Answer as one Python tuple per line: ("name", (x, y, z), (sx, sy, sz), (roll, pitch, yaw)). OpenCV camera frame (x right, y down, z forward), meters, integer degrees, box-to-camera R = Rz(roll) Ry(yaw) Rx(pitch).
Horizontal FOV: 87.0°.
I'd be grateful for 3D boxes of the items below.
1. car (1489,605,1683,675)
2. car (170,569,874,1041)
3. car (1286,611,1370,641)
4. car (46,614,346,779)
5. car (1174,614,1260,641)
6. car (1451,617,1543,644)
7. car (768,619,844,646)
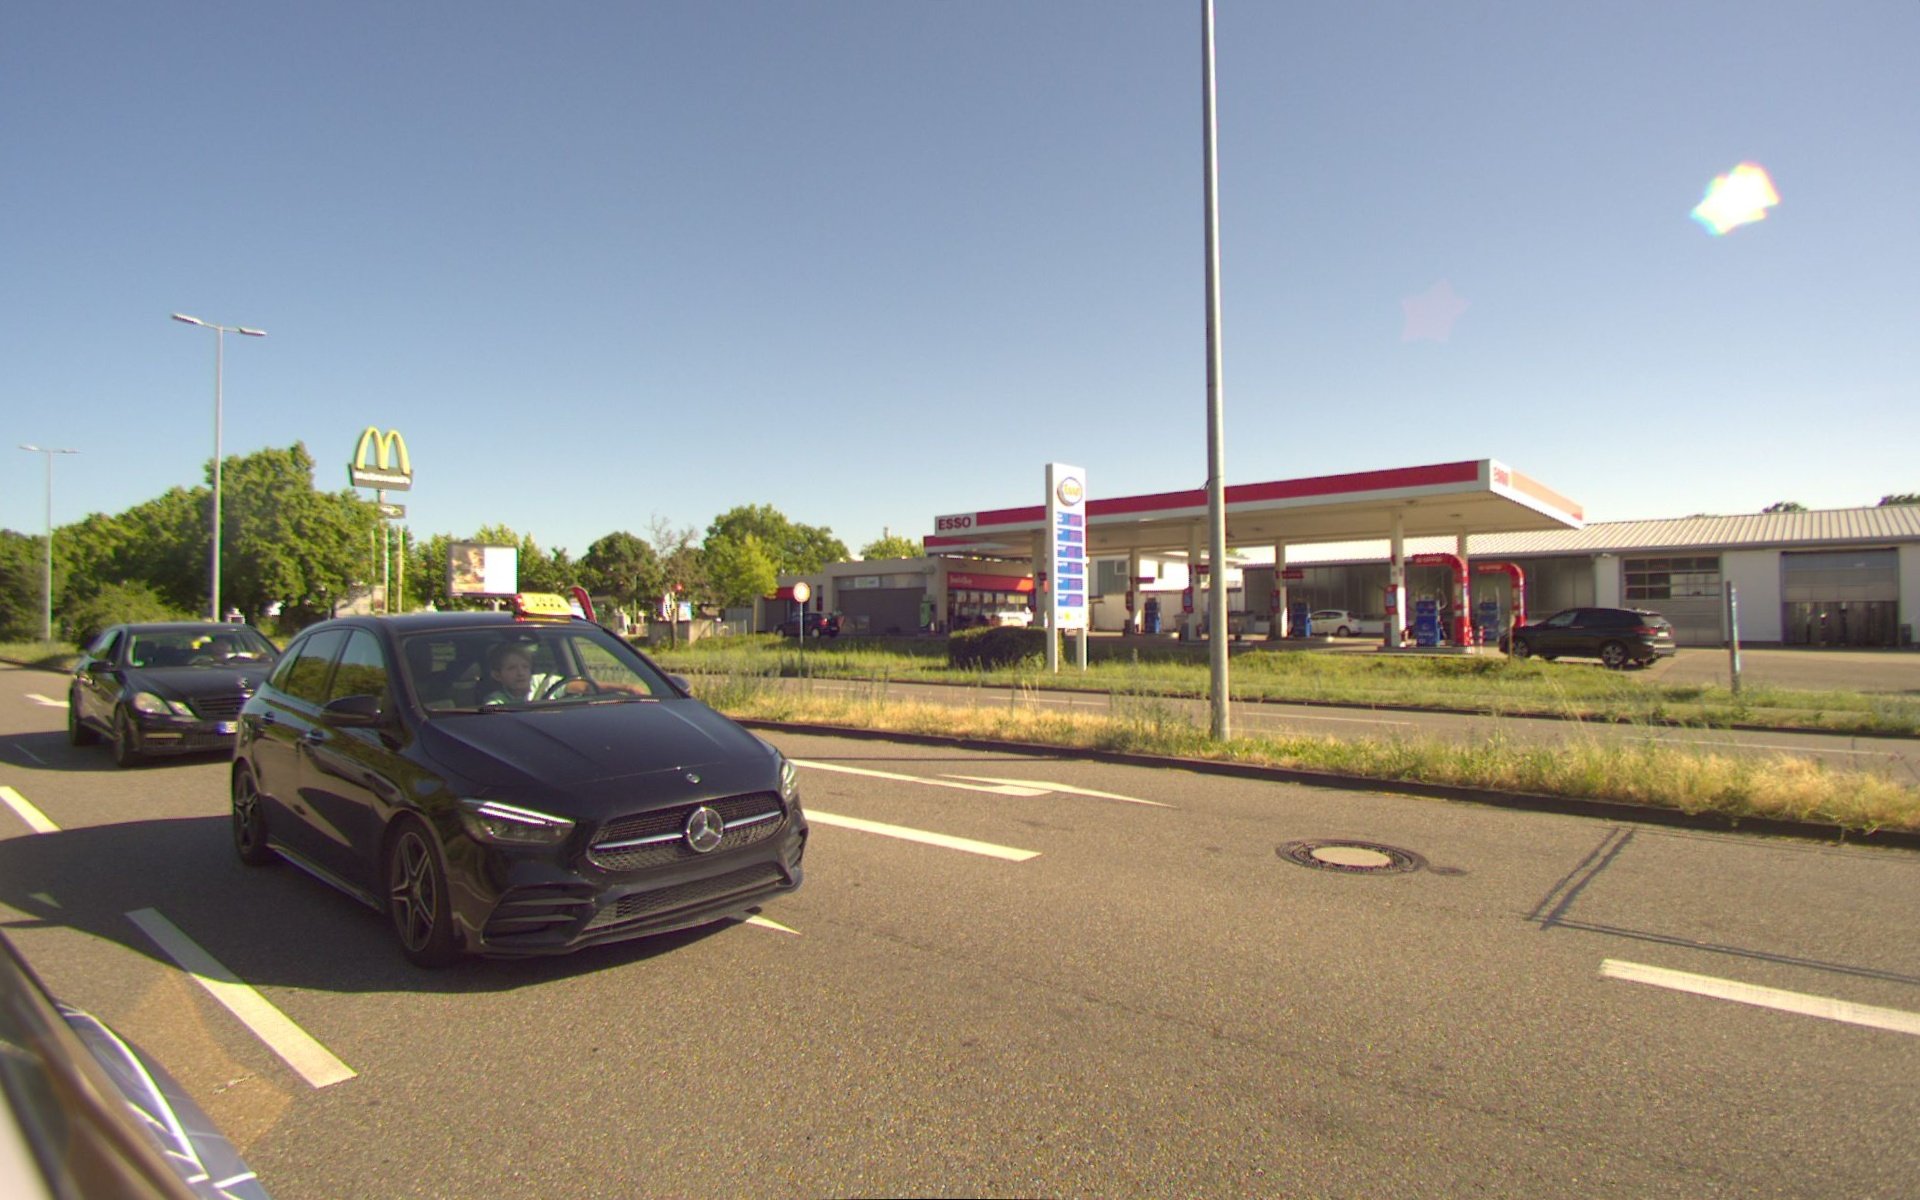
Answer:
("car", (17.712, 1.058, 28.839), (1.778, 1.739, 4.334), (-3, 1, -33))
("car", (-2.725, 0.751, 5.638), (4.579, 1.614, 1.765), (-2, -1, 40))
("car", (19.966, 1.378, 54.931), (3.855, 1.500, 1.973), (-1, 0, 41))
("car", (-9.007, 0.941, 11.783), (4.461, 1.521, 1.928), (-1, 0, 41))
("car", (15.125, 1.602, 59.783), (4.540, 1.477, 1.973), (-1, 0, 41))
("car", (26.208, 1.462, 49.430), (3.729, 1.196, 1.658), (-1, 0, 41))
("car", (-8.410, 1.761, 55.045), (3.998, 1.416, 1.973), (-2, -2, 41))
